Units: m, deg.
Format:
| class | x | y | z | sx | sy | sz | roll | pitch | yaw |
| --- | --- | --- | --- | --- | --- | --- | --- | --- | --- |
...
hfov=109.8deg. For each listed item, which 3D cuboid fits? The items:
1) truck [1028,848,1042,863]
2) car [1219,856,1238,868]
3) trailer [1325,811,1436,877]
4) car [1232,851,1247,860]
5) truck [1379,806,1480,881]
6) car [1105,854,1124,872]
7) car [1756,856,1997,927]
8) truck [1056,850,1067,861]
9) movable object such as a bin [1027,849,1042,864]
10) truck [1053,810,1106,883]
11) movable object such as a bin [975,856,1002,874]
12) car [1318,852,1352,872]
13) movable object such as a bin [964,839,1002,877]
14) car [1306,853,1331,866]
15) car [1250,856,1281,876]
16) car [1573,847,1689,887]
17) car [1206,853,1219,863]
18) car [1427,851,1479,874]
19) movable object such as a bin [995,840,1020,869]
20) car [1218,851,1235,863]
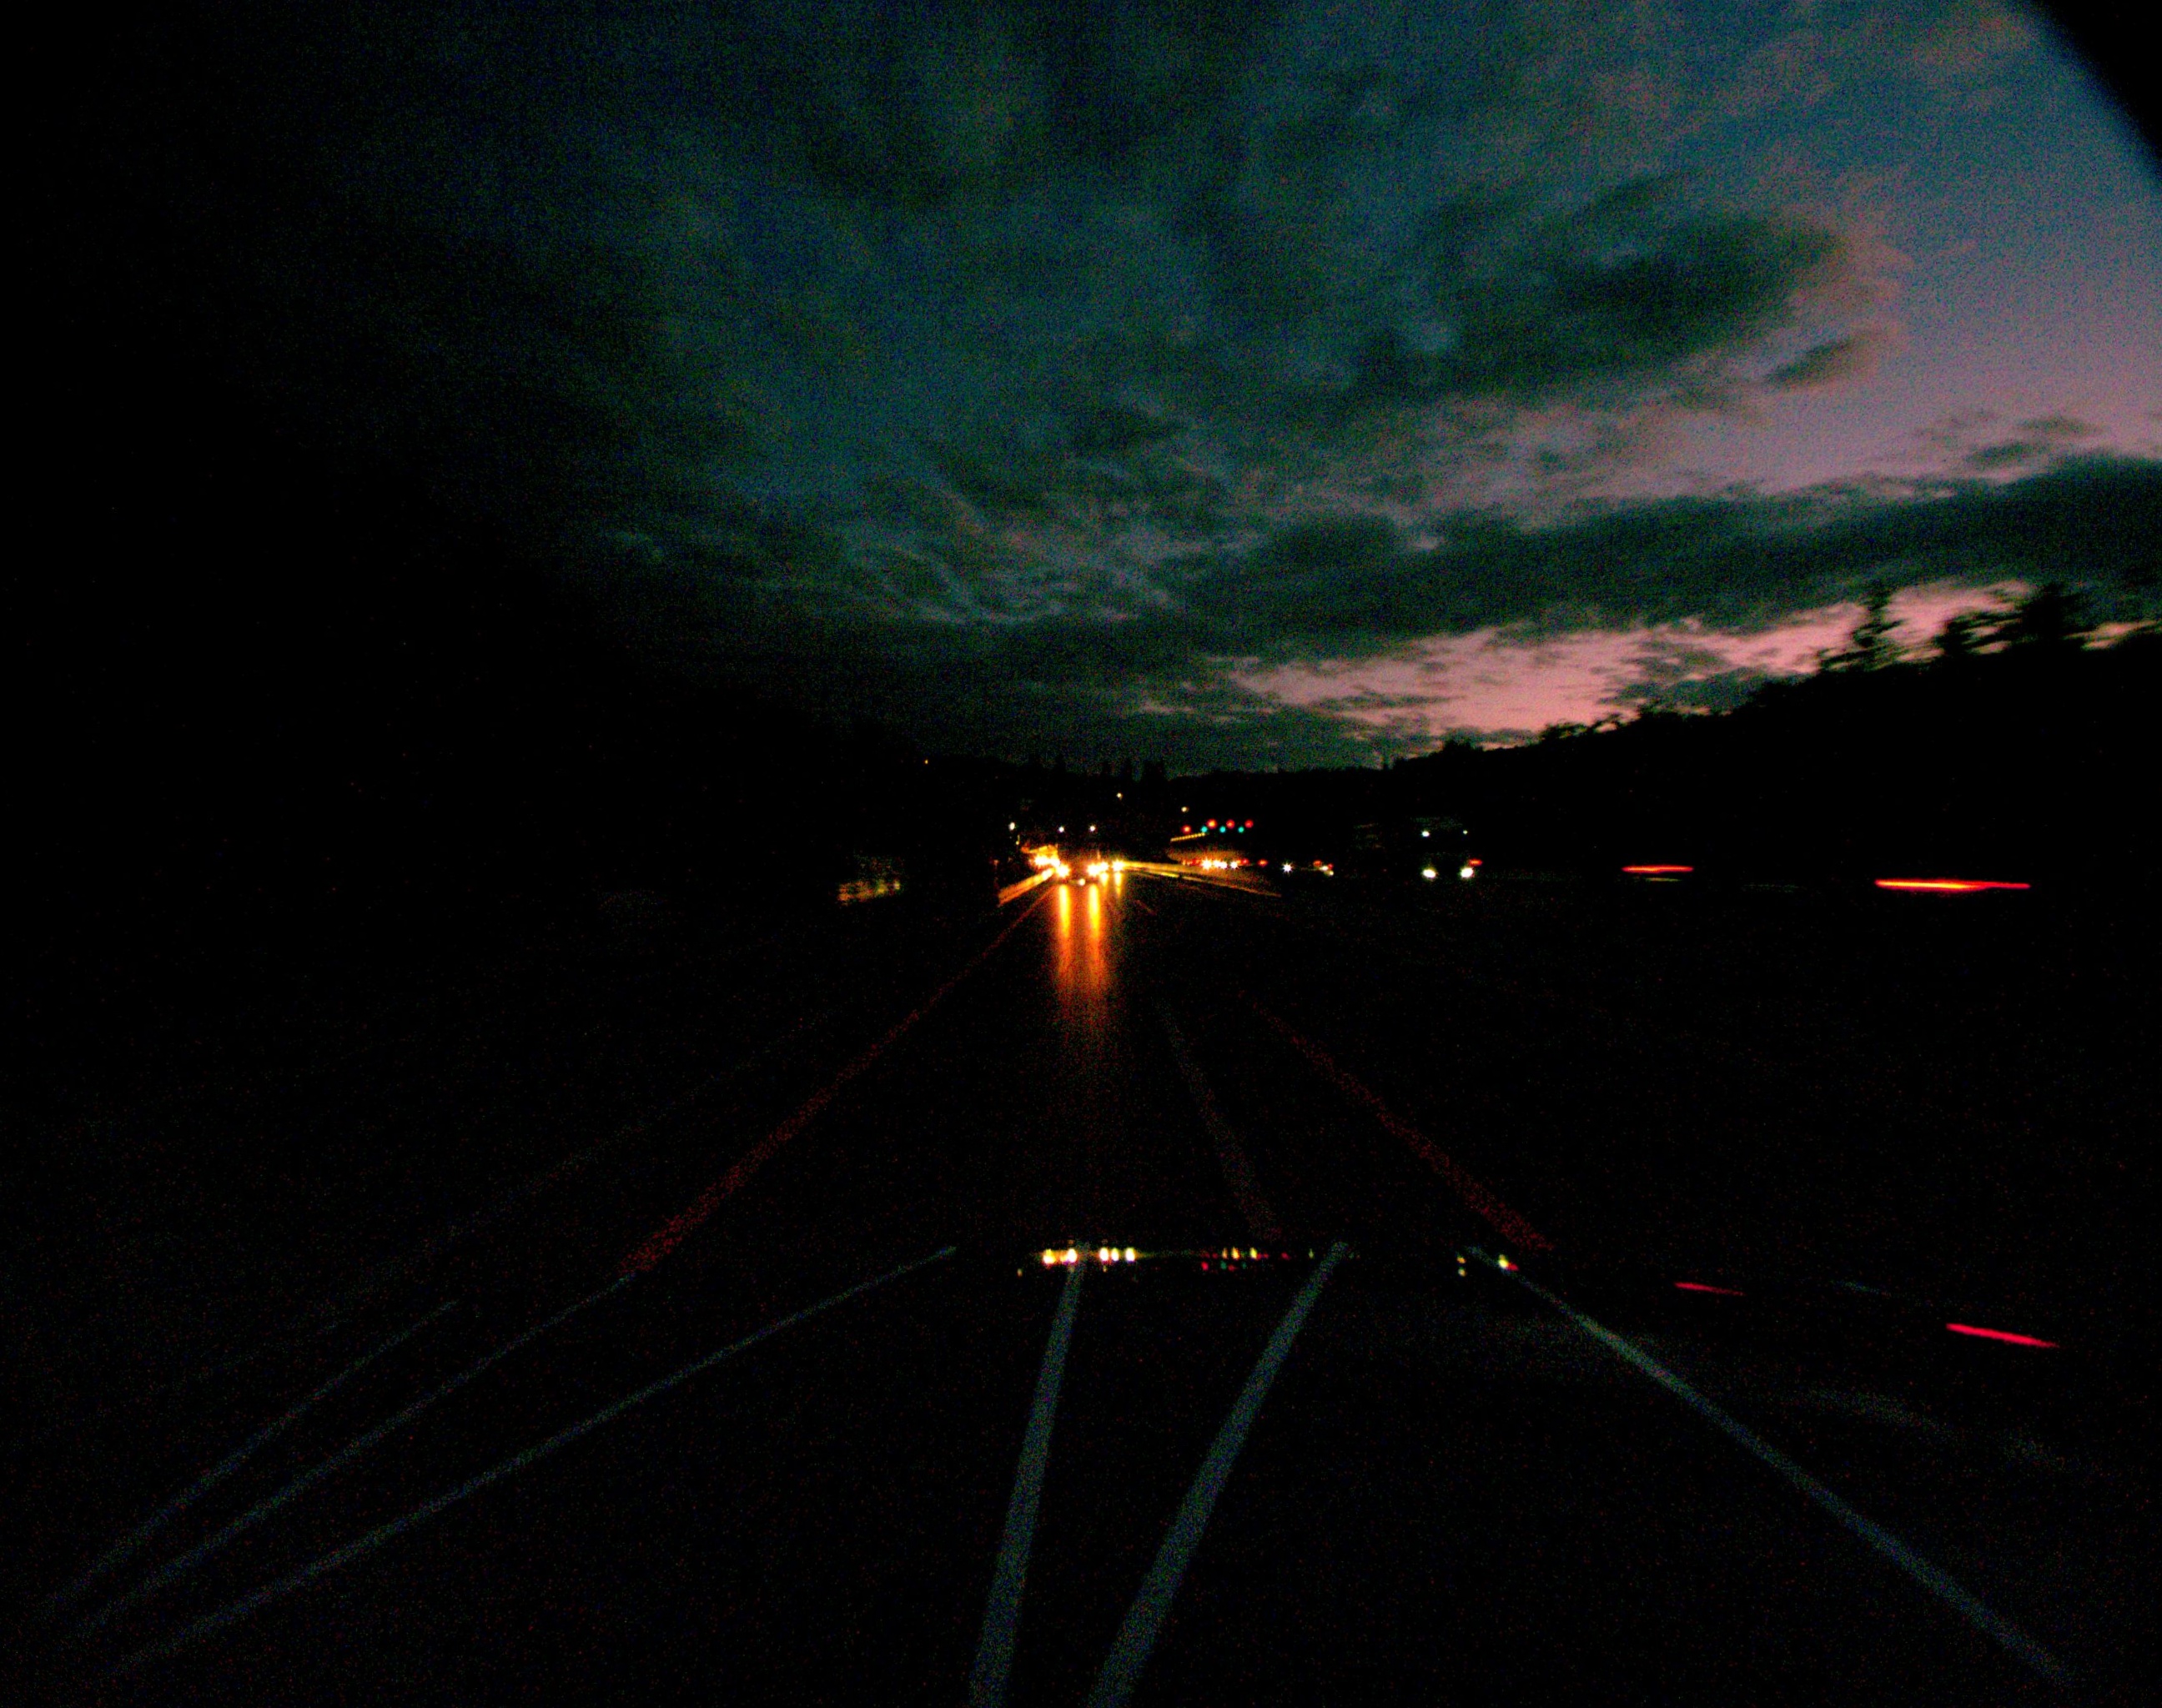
| class | x | y | z | sx | sy | sz | roll | pitch | yaw |
| --- | --- | --- | --- | --- | --- | --- | --- | --- | --- |
| truck | -10.530 | 0.393 | 175.059 | 2.825 | 3.267 | 8.350 | -3 | 1 | -1 |
| car | 20.554 | 1.110 | 106.096 | 1.791 | 1.472 | 4.000 | -3 | 1 | 1 |
| trailer | 19.561 | -0.655 | 50.676 | 2.805 | 3.761 | 11.835 | -3 | 1 | 1 |
| car | 29.171 | 0.257 | 139.919 | 1.815 | 1.653 | 4.701 | -3 | 1 | 1 |
| truck | 19.393 | -0.568 | 42.745 | 2.809 | 3.753 | 6.302 | -3 | 1 | 2 |
| car | 3.398 | 0.877 | 75.712 | 1.662 | 1.586 | 3.997 | -3 | 1 | 5 |
| car | 22.096 | 0.942 | 21.465 | 1.741 | 1.628 | 4.891 | -3 | 1 | 2 |
| truck | -5.283 | 0.312 | 204.617 | 1.998 | 2.817 | 6.297 | -3 | 1 | 6 |
| movable object such as a bin | -9.990 | 0.505 | 163.017 | 2.978 | 2.811 | 7.193 | -3 | 1 | -3 |
| truck | -0.114 | -0.505 | 50.821 | 2.954 | 4.241 | 11.051 | -3 | 1 | 0 |
| movable object such as a bin | -8.586 | 0.975 | 70.740 | 1.999 | 1.592 | 4.084 | 0 | 1 | 0 |
| car | 23.997 | 0.730 | 71.891 | 1.683 | 1.628 | 4.751 | -3 | 1 | 2 |
| movable object such as a bin | -8.402 | 0.277 | 65.772 | 2.627 | 3.090 | 5.804 | -1 | 1 | -1 |
| car | 30.430 | 0.670 | 97.391 | 1.830 | 1.476 | 4.701 | -3 | 1 | 1 |
| car | 19.397 | 1.215 | 80.034 | 2.095 | 1.873 | 4.700 | -3 | 1 | 1 |
| car | 25.443 | 0.528 | 35.431 | 1.741 | 1.628 | 5.170 | -3 | 1 | 2 |
| car | 20.743 | 0.588 | 120.019 | 1.509 | 1.472 | 3.824 | -3 | 1 | 1 |
| car | 29.389 | 0.610 | 60.167 | 1.808 | 1.628 | 4.751 | -3 | 1 | 2 |
| movable object such as a bin | -8.571 | 0.024 | 89.103 | 2.571 | 3.299 | 5.577 | 0 | 1 | -1 |
| car | 24.623 | 0.489 | 128.840 | 1.905 | 1.728 | 4.807 | -3 | 1 | 1 |
